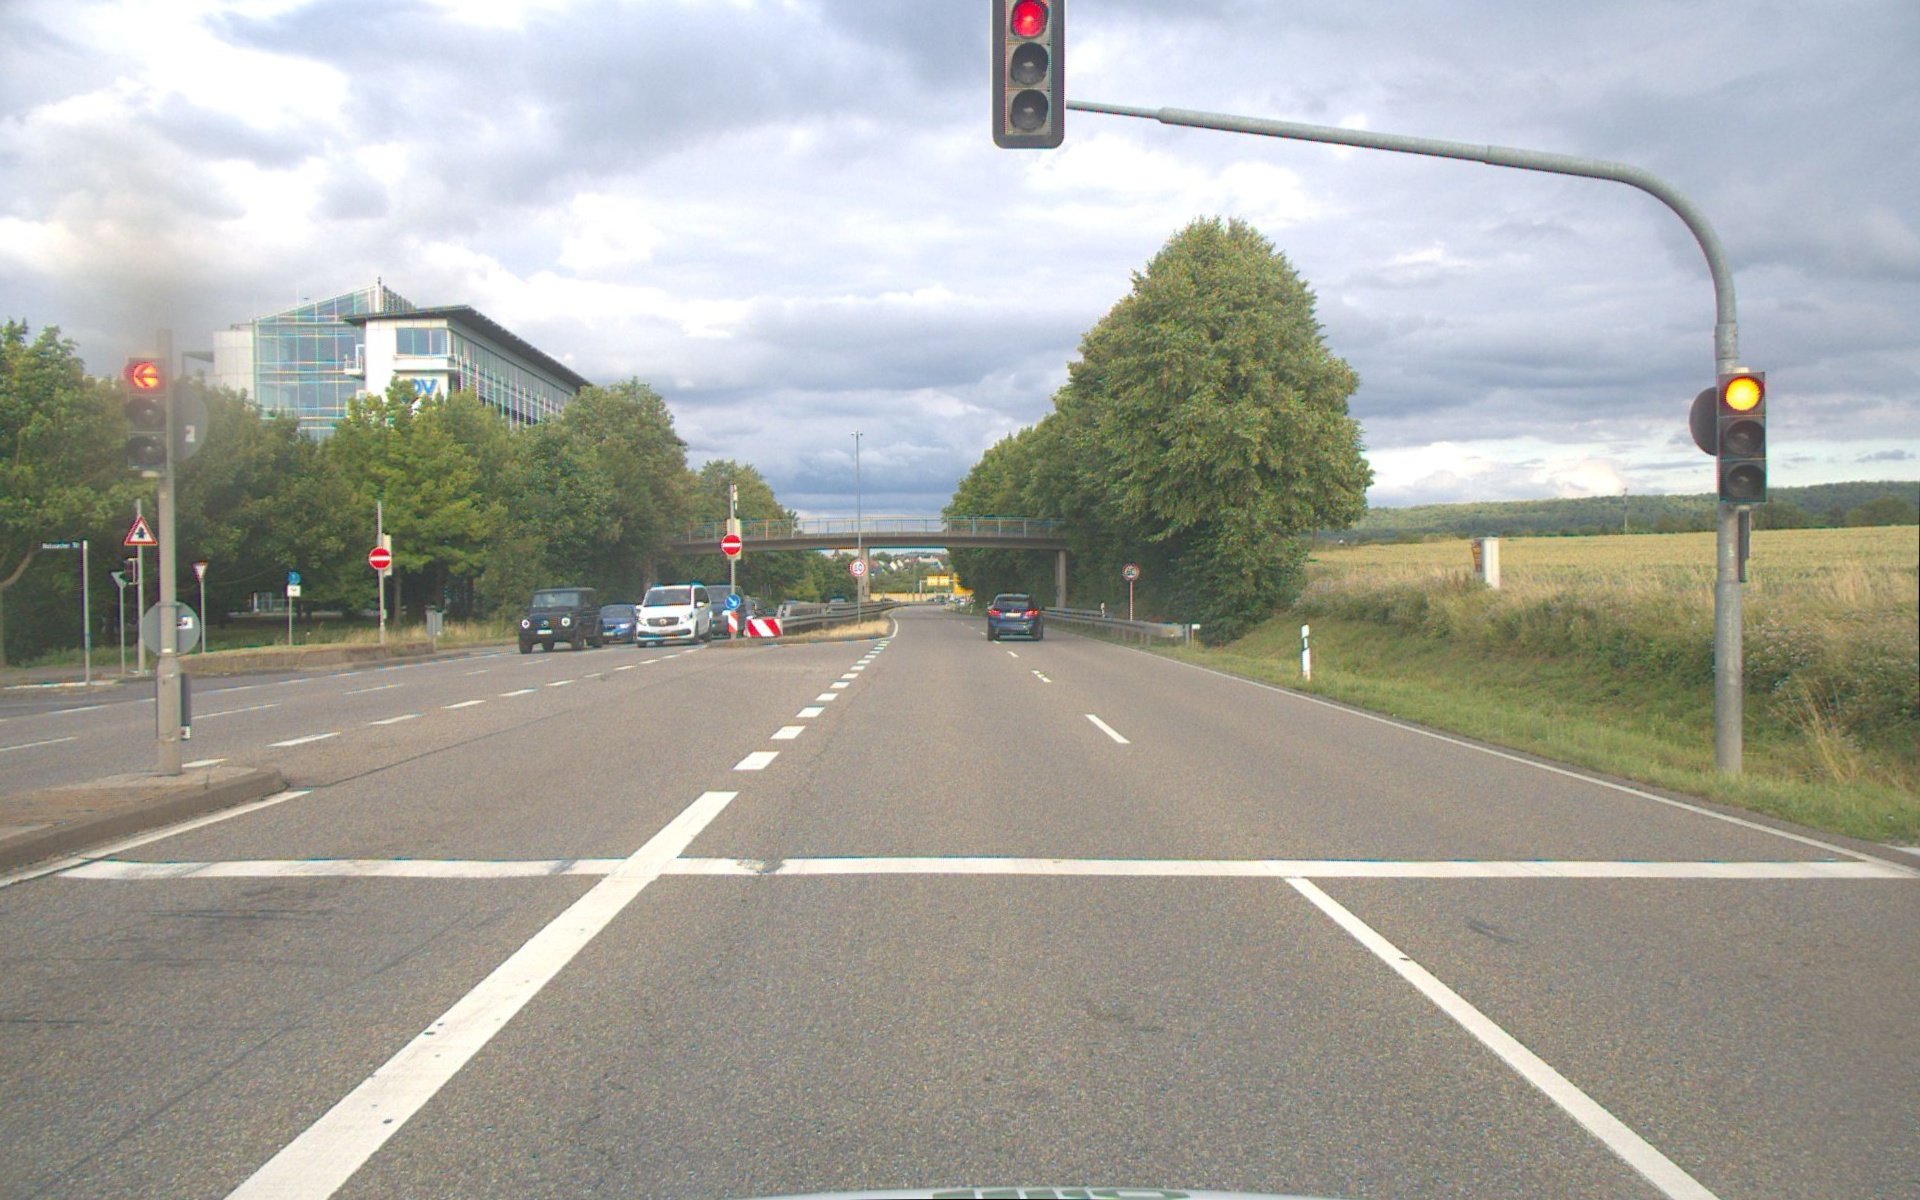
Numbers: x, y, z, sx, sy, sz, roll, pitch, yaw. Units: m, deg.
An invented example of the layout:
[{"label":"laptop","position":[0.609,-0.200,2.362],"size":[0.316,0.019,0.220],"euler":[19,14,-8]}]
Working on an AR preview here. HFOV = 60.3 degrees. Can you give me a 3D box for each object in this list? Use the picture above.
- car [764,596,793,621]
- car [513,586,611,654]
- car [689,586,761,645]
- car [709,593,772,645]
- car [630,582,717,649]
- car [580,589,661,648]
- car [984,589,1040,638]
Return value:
[{"label":"car","position":[-15.211,0.681,138.861],"size":[2.041,2.049,5.214],"euler":[1,0,-2]},{"label":"car","position":[-12.743,0.635,53.316],"size":[2.041,2.049,5.214],"euler":[1,0,-2]},{"label":"car","position":[-8.646,0.567,61.228],"size":[2.041,2.049,5.214],"euler":[1,0,-2]},{"label":"car","position":[-9.086,0.758,68.785],"size":[2.041,2.049,5.214],"euler":[1,0,-2]},{"label":"car","position":[-9.183,0.484,53.483],"size":[2.041,2.049,5.214],"euler":[1,0,-2]},{"label":"car","position":[-12.410,0.669,60.821],"size":[2.041,2.049,5.214],"euler":[1,0,-2]},{"label":"car","position":[1.771,0.451,56.625],"size":[1.841,1.579,4.001],"euler":[1,0,2]}]
